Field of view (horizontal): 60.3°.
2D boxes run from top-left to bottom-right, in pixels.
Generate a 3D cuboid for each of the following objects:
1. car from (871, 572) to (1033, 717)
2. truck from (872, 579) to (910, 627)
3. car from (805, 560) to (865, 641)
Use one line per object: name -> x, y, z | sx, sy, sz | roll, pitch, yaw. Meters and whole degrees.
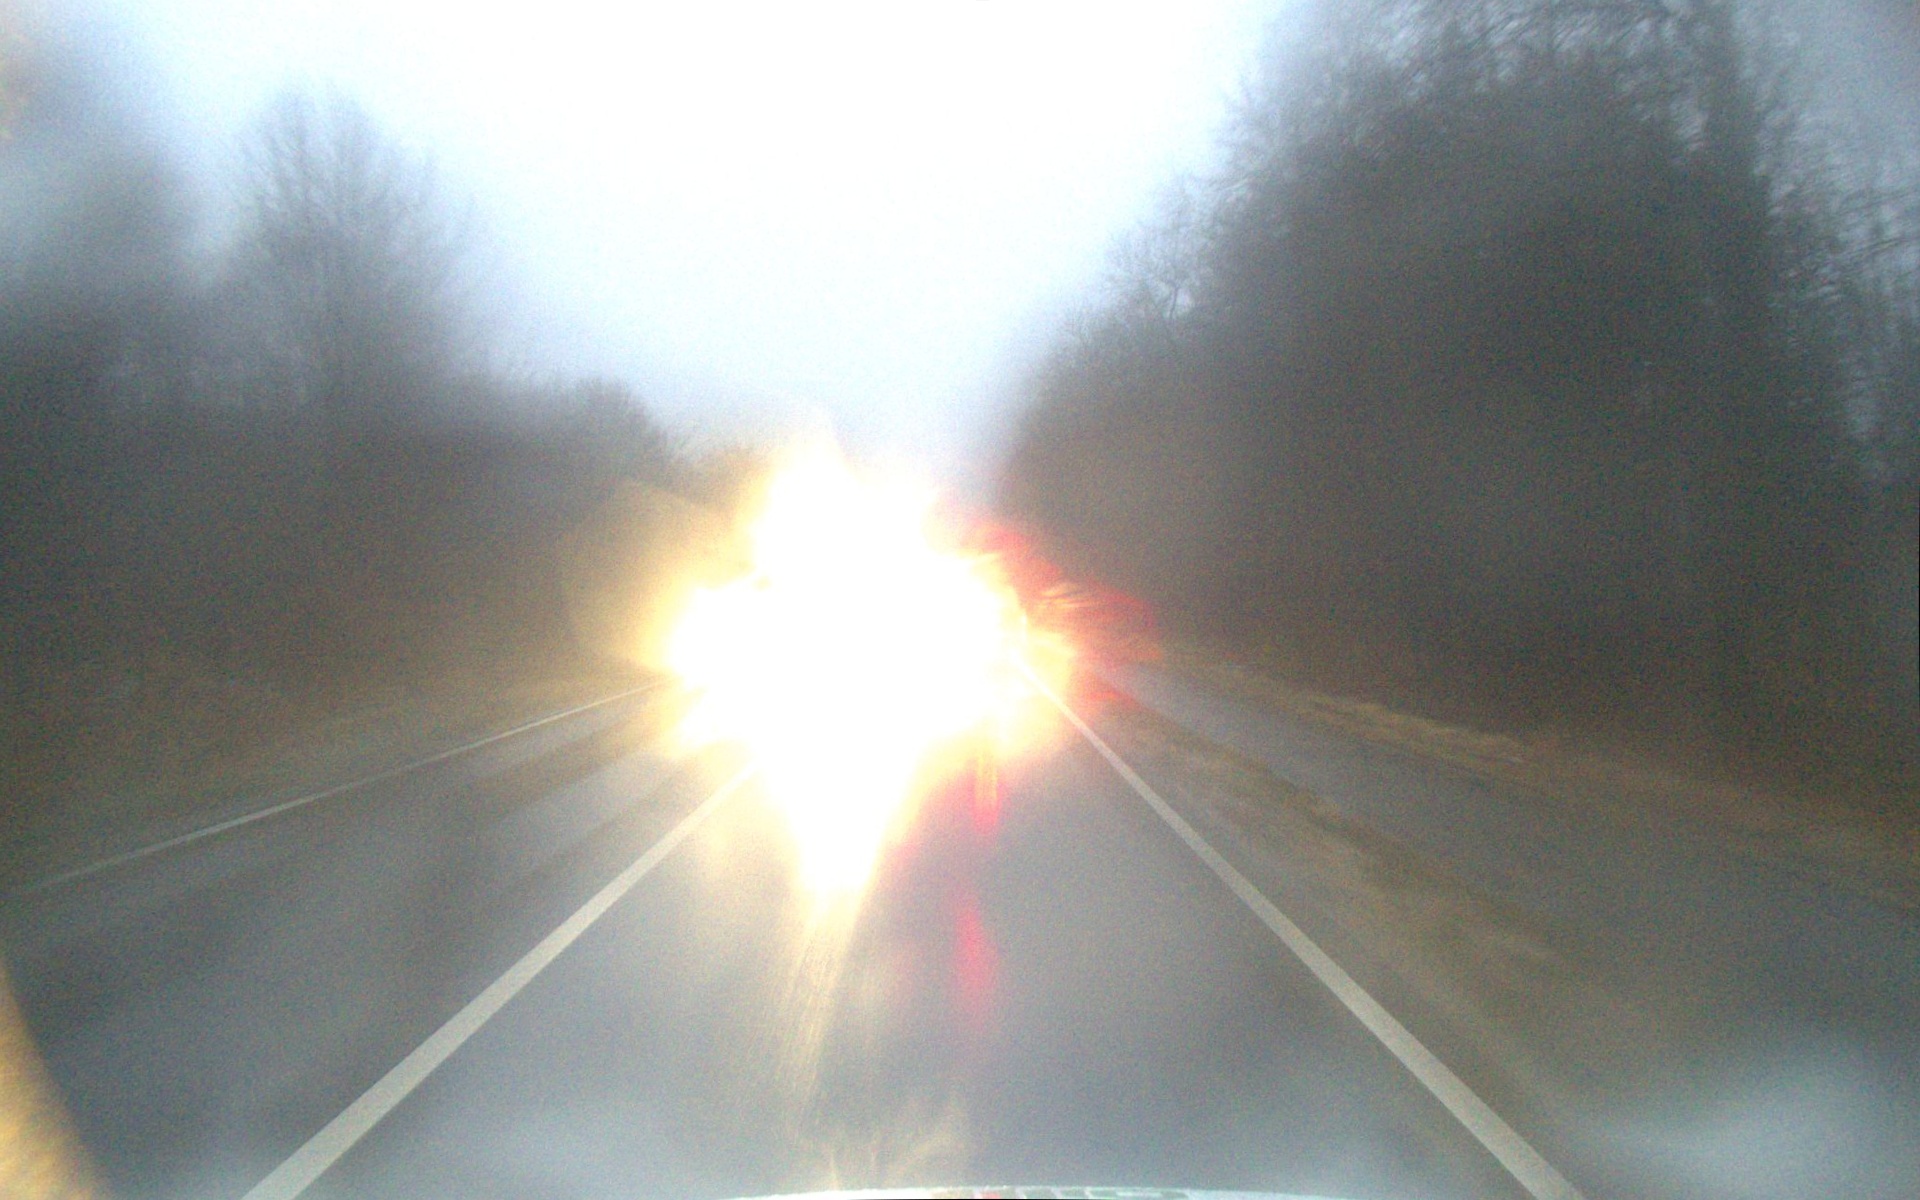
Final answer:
car -> -0.141, 0.602, 24.564 | 2.153, 1.910, 4.826 | 1, 0, -1
truck -> -4.188, 0.176, 101.385 | 2.060, 2.820, 6.870 | 1, 0, -1
car -> -4.659, 0.028, 62.541 | 2.032, 2.860, 6.649 | 0, 0, -3
